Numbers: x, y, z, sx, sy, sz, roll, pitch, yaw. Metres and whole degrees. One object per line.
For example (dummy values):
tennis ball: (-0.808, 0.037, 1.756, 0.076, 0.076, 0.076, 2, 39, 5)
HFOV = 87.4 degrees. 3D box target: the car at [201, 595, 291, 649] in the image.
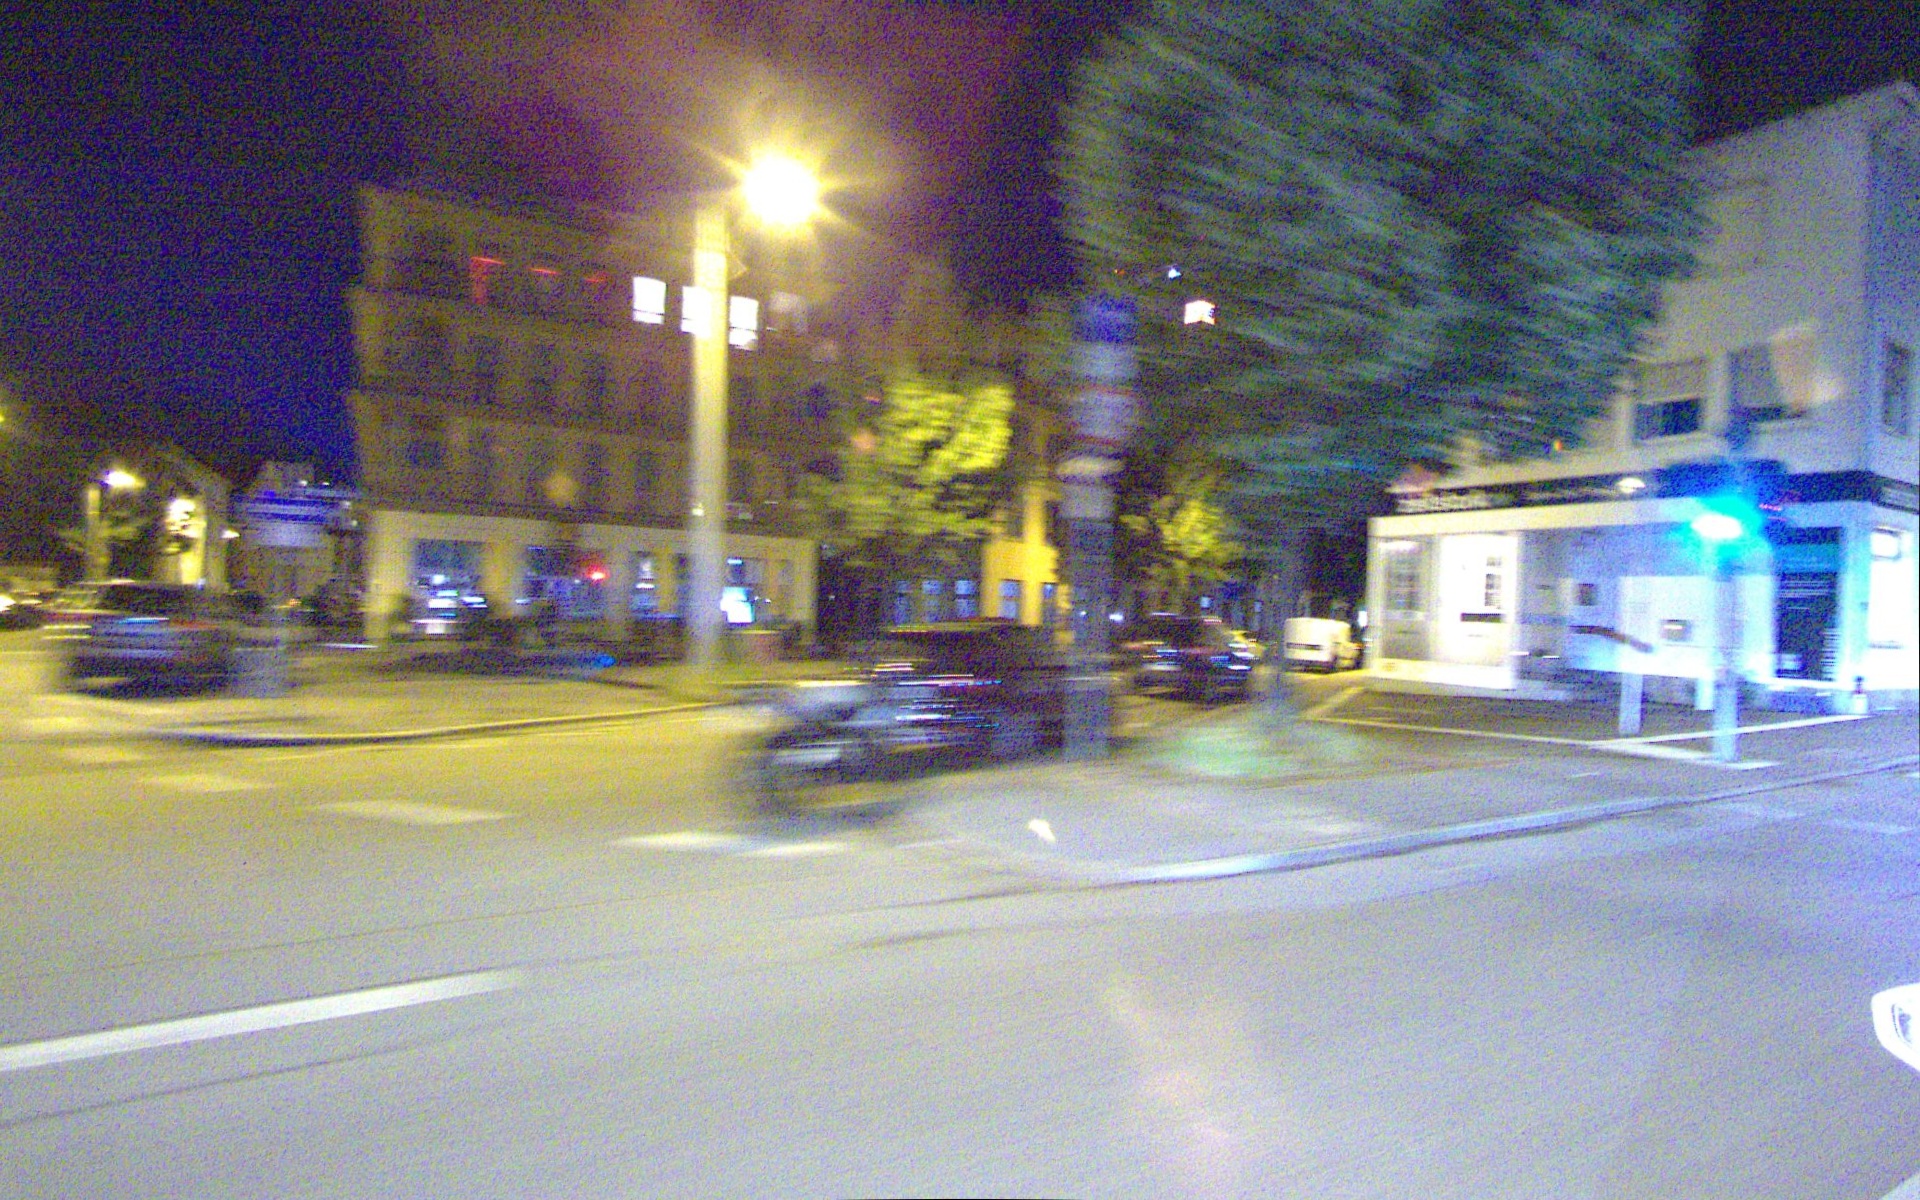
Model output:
car: (-21.180, 0.649, 29.928, 1.903, 1.475, 4.175, 3, -2, -33)

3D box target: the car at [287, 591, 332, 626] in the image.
car: (-34.706, 0.459, 53.659, 1.913, 1.737, 4.380, 3, -2, -33)

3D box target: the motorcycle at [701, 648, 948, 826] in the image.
motorcycle: (-0.998, 0.995, 7.911, 0.565, 1.195, 2.021, 0, -1, 42)

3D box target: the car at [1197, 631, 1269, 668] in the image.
car: (12.008, 2.137, 43.991, 1.855, 1.468, 3.989, 1, -1, 34)

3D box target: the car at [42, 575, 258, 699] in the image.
car: (-13.489, 0.545, 17.049, 1.933, 1.777, 4.321, 4, -1, -28)

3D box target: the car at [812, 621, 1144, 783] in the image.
car: (0.477, 1.009, 11.581, 1.858, 1.443, 4.723, 0, -2, 28)

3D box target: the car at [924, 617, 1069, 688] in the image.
car: (1.013, 1.295, 25.228, 1.810, 1.634, 4.251, -1, -3, 31)

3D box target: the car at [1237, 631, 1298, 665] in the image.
car: (14.846, 2.273, 48.355, 1.742, 1.479, 3.989, 1, -1, 33)

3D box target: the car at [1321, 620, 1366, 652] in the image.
car: (23.622, 2.186, 61.772, 1.770, 1.833, 3.989, 1, -1, 33)

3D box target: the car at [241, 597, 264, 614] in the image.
car: (-71.987, 0.585, 102.283, 1.570, 1.594, 3.541, 3, -2, -31)

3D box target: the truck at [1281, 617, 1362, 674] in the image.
truck: (12.810, 1.595, 35.475, 1.863, 1.831, 4.105, 1, -2, 32)

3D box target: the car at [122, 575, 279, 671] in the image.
car: (-16.471, 0.464, 22.026, 1.938, 1.776, 4.321, 6, -2, -28)

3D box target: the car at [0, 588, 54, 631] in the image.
car: (-34.352, 0.326, 36.117, 1.842, 1.489, 3.967, 3, -2, -31)

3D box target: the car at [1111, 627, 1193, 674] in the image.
car: (6.734, 1.717, 34.985, 1.579, 1.508, 3.547, -1, -2, 33)

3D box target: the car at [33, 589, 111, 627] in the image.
car: (-39.507, 0.363, 44.797, 1.842, 1.557, 3.967, 3, -2, -31)

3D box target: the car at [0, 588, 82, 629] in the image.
car: (-36.799, 0.350, 40.218, 1.779, 1.539, 3.654, 3, -2, -31)

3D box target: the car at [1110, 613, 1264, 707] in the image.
car: (4.899, 1.207, 21.293, 1.886, 1.666, 4.102, 4, 0, 31)

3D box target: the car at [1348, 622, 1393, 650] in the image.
car: (27.526, 2.450, 67.290, 1.873, 1.758, 3.986, 1, -2, 36)
